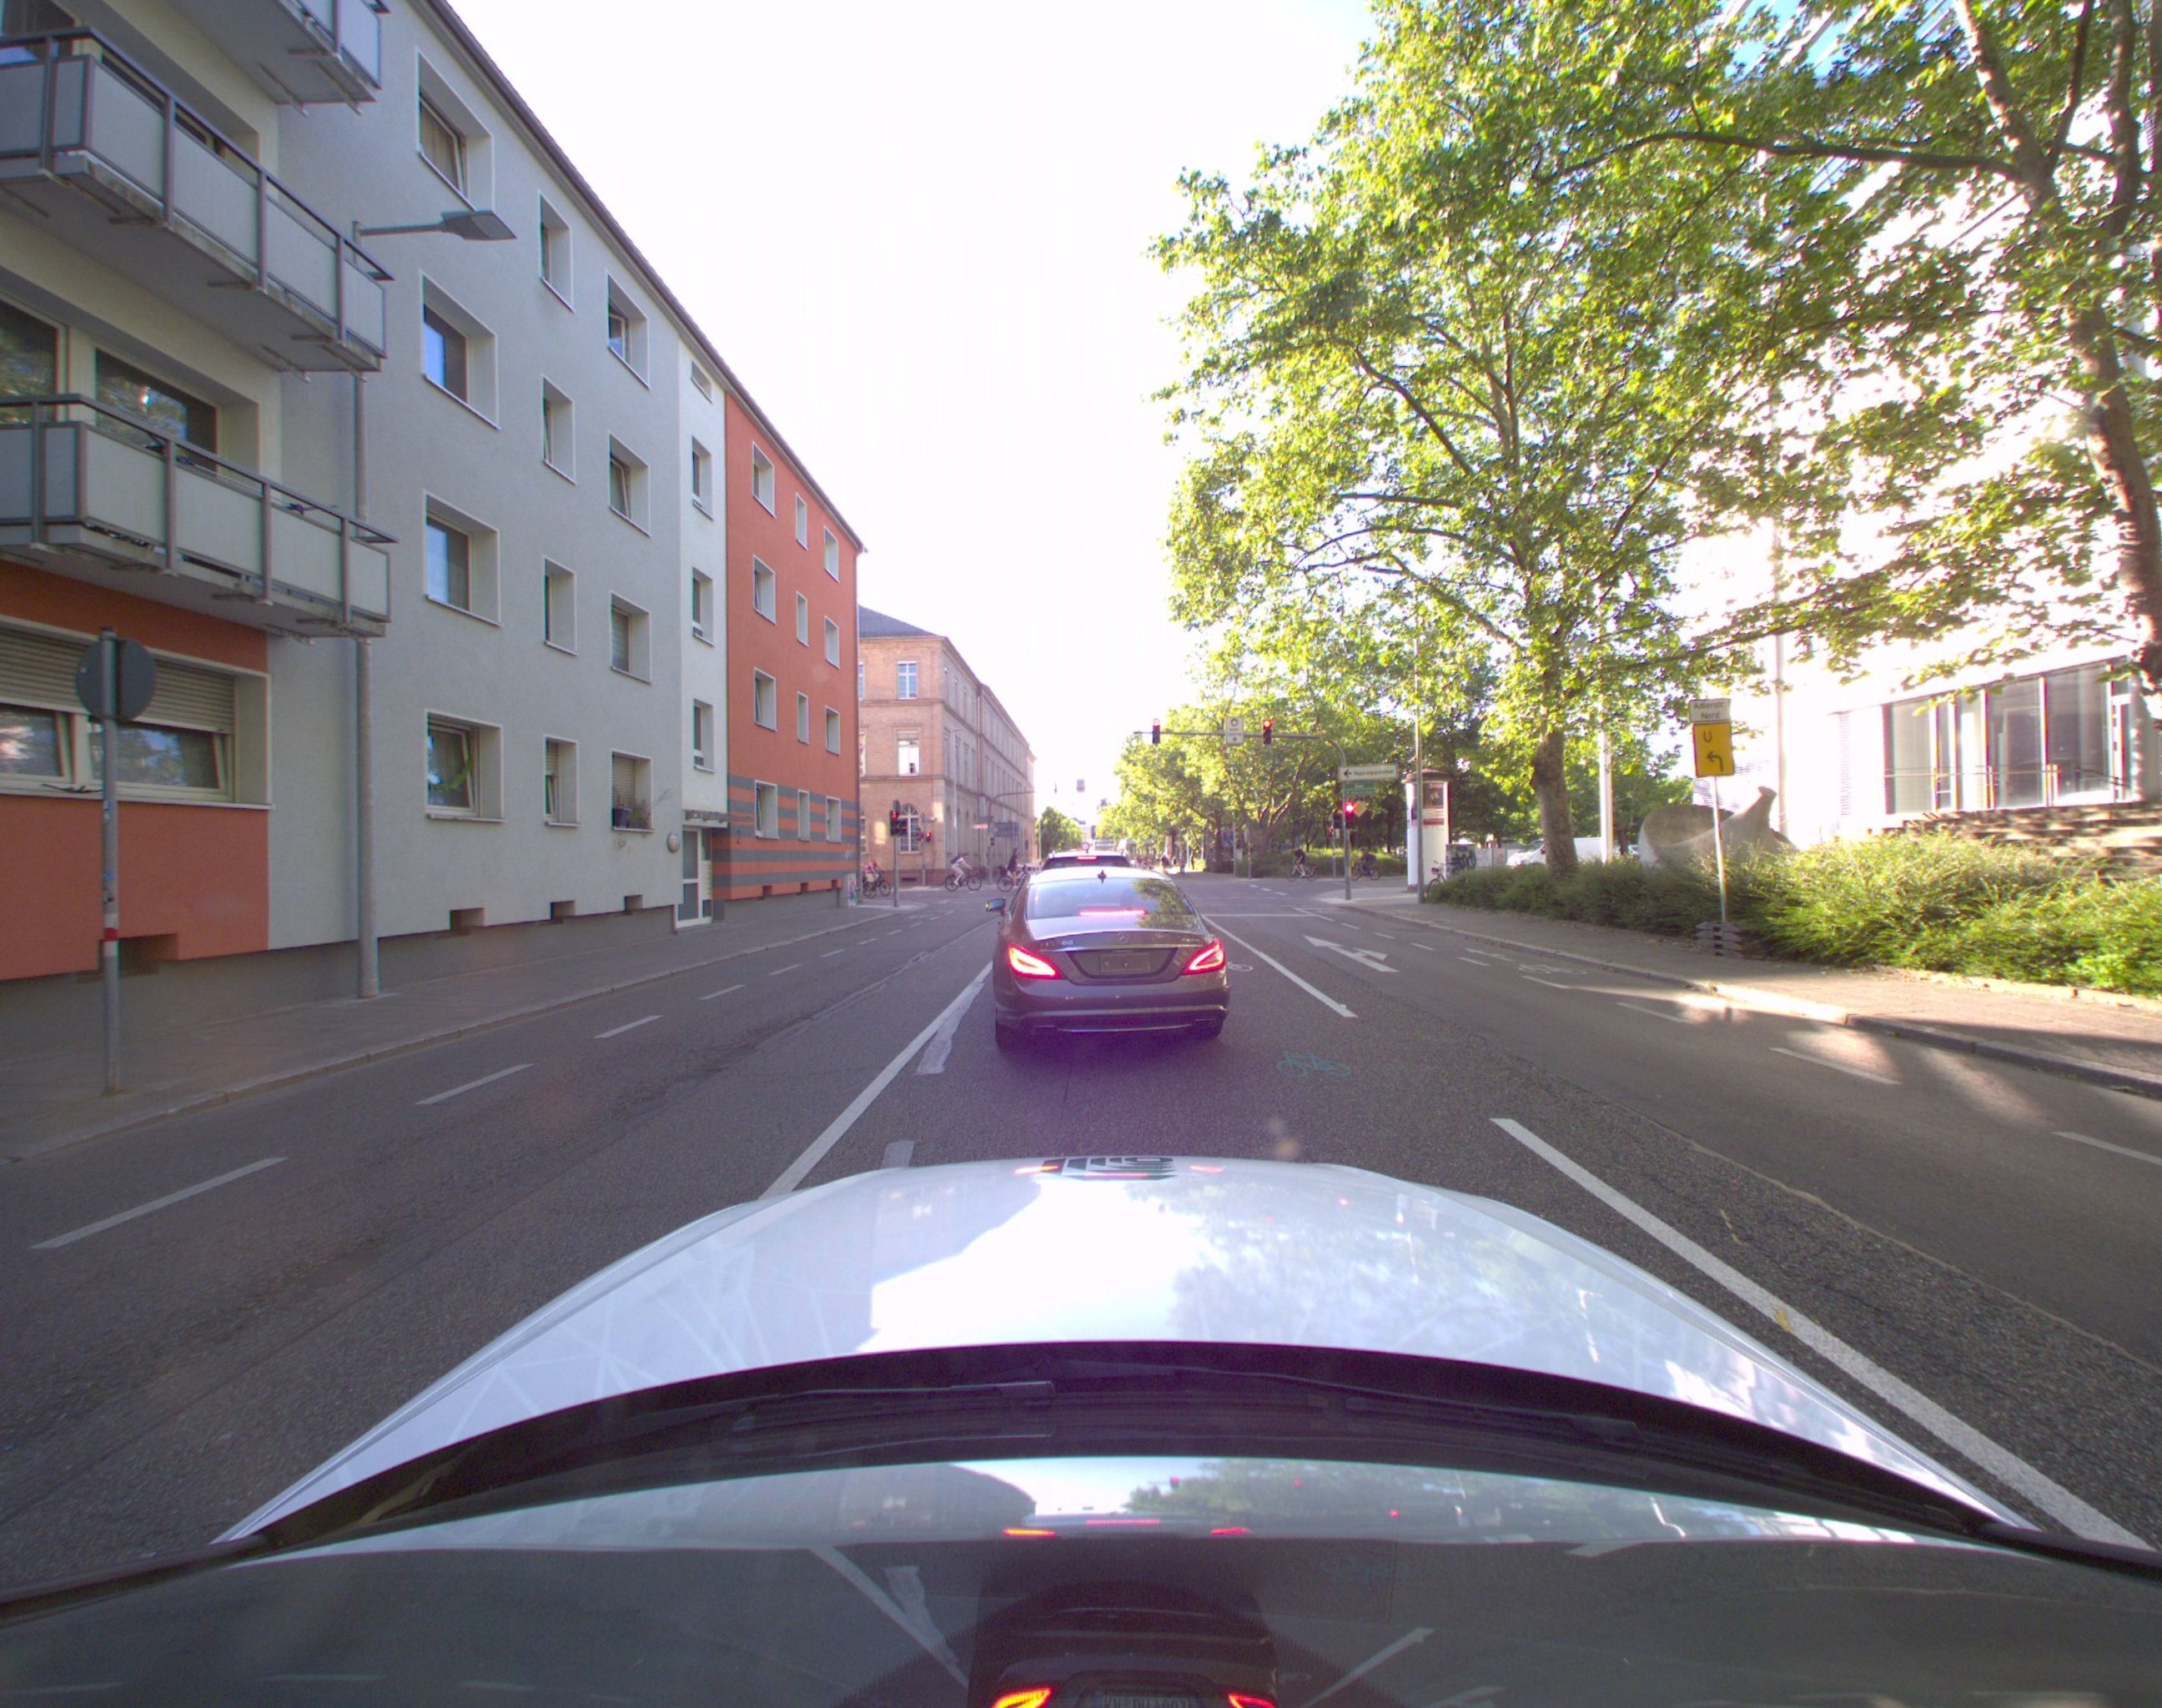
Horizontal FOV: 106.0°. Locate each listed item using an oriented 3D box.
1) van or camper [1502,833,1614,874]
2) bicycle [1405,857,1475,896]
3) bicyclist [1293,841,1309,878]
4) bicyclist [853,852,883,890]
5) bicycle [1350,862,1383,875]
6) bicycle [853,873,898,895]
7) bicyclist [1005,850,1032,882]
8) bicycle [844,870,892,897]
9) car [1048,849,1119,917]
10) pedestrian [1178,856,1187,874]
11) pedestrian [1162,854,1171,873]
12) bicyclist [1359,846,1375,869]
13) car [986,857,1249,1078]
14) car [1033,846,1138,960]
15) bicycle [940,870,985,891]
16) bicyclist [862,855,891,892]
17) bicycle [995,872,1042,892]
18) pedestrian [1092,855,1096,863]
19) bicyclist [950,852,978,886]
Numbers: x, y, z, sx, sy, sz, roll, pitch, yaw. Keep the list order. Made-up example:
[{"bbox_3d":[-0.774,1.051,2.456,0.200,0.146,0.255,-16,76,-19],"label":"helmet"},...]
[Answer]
[{"bbox_3d":[24.345,-0.009,41.670,4.564,1.941,2.000,-1,0,-1],"label":"van or camper"},{"bbox_3d":[10.356,0.643,23.522,1.796,1.097,0.510,-1,0,4],"label":"bicycle"},{"bbox_3d":[11.852,0.298,43.876,0.651,2.013,0.439,-1,0,-6],"label":"bicyclist"},{"bbox_3d":[-8.828,0.699,33.791,0.828,1.555,0.850,-1,0,29],"label":"bicyclist"},{"bbox_3d":[15.384,0.775,43.871,1.579,0.635,0.496,-1,0,5],"label":"bicycle"},{"bbox_3d":[-8.920,1.309,35.275,1.840,0.929,0.699,-1,0,25],"label":"bicycle"},{"bbox_3d":[-2.735,0.520,35.542,1.099,1.403,0.658,-1,0,1],"label":"bicyclist"},{"bbox_3d":[-8.847,1.232,33.800,1.813,1.079,0.871,-1,0,29],"label":"bicycle"},{"bbox_3d":[0.130,0.770,23.384,1.813,1.762,4.002,-1,0,2],"label":"car"},{"bbox_3d":[8.128,0.856,65.157,0.646,1.433,0.659,-1,0,1],"label":"pedestrian"},{"bbox_3d":[6.937,0.796,65.897,0.646,1.503,0.637,-1,0,1],"label":"pedestrian"},{"bbox_3d":[15.392,0.185,43.861,0.701,1.260,0.458,-1,0,4],"label":"bicyclist"},{"bbox_3d":[0.071,0.779,7.764,1.801,1.456,4.342,-1,0,-5],"label":"car"},{"bbox_3d":[0.064,0.712,13.779,1.513,1.647,3.879,-1,0,0],"label":"car"},{"bbox_3d":[-5.431,1.216,37.438,1.884,0.882,0.726,-1,0,5],"label":"bicycle"},{"bbox_3d":[-8.844,0.845,35.256,0.970,1.578,0.691,-1,0,24],"label":"bicyclist"},{"bbox_3d":[-2.703,1.226,35.536,1.966,0.836,0.677,-1,0,2],"label":"bicycle"},{"bbox_3d":[2.312,0.888,145.156,0.799,1.576,0.845,-1,0,1],"label":"pedestrian"},{"bbox_3d":[-5.362,0.691,37.422,1.069,1.519,0.718,-1,0,6],"label":"bicyclist"}]
